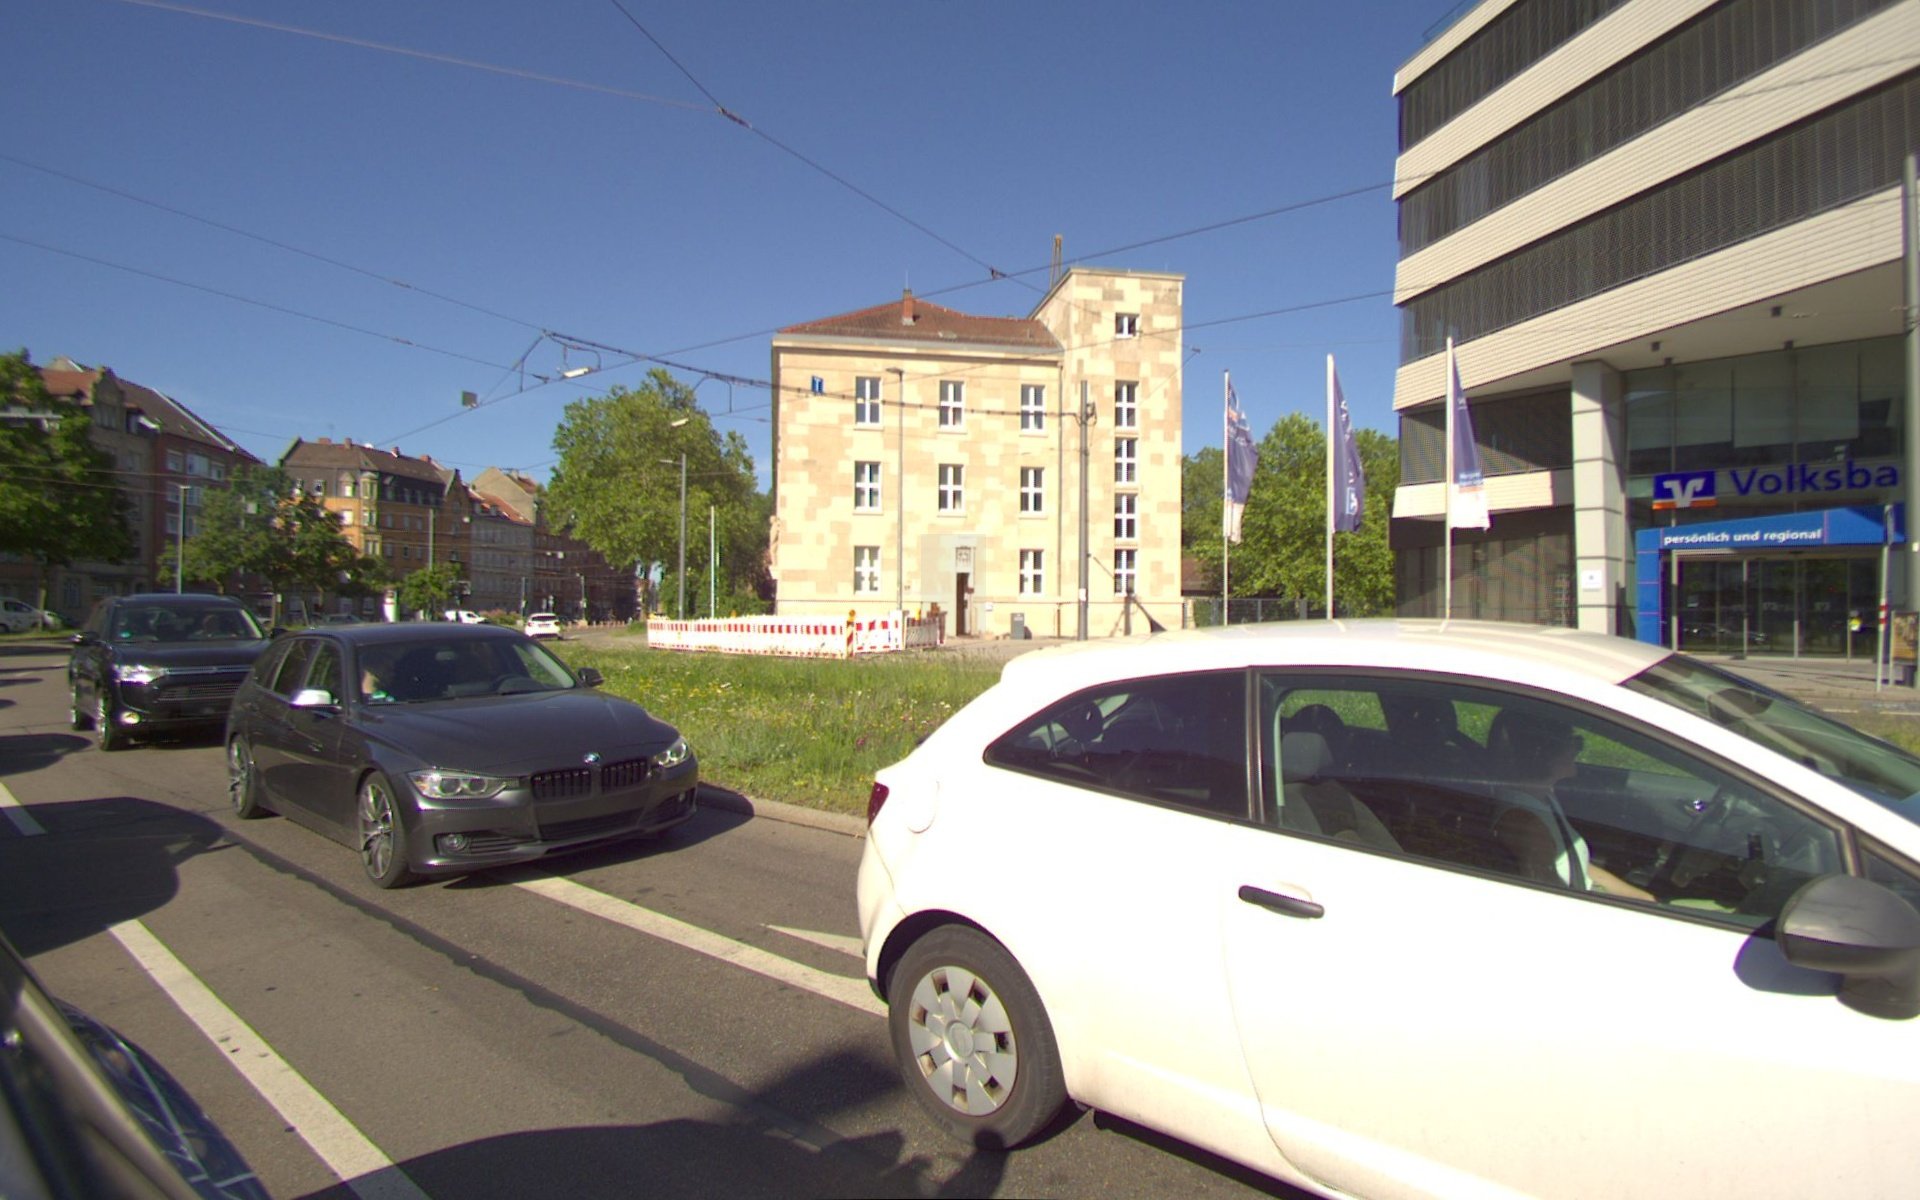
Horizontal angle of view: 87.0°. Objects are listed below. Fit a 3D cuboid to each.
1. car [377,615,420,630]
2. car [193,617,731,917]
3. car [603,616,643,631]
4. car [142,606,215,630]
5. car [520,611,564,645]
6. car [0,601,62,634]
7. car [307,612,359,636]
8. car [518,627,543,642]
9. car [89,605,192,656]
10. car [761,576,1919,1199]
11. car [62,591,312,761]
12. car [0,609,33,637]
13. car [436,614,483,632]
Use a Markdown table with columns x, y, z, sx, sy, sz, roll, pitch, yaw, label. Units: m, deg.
| x | y | z | sx | sy | sz | roll | pitch | yaw | label |
| --- | --- | --- | --- | --- | --- | --- | --- | --- | --- |
| -64.346 | 2.533 | 116.009 | 4.001 | 1.669 | 1.772 | 1 | -1 | -16 | car |
| -3.600 | 0.829 | 6.883 | 4.424 | 1.377 | 1.719 | -1 | 0 | 41 | car |
| -38.765 | 2.747 | 116.377 | 4.001 | 1.669 | 1.771 | 2 | -2 | -33 | car |
| -53.933 | 1.272 | 69.877 | 3.771 | 1.603 | 1.601 | 2 | -2 | -44 | car |
| -21.717 | 1.451 | 52.532 | 1.794 | 1.658 | 4.195 | 0 | -1 | -27 | car |
| -49.932 | 0.890 | 52.795 | 4.514 | 1.680 | 1.601 | 2 | -2 | -43 | car |
| -41.479 | 1.591 | 67.050 | 1.809 | 1.483 | 4.728 | 1 | -1 | -19 | car |
| -49.439 | 3.953 | 116.532 | 1.811 | 1.659 | 4.157 | 1 | -1 | -10 | car |
| -35.731 | 1.300 | 44.292 | 1.949 | 2.101 | 4.728 | 1 | -1 | -19 | car |
| 1.479 | 0.696 | 2.483 | 4.020 | 1.452 | 1.714 | 0 | 2 | 40 | car |
| -9.383 | 0.774 | 12.133 | 1.817 | 1.658 | 4.400 | -1 | -1 | -45 | car |
| -48.767 | 1.150 | 50.389 | 3.768 | 1.390 | 1.602 | 2 | -2 | -41 | car |
| -57.164 | 2.633 | 115.626 | 4.513 | 1.889 | 2.006 | -1 | 0 | -16 | car |
